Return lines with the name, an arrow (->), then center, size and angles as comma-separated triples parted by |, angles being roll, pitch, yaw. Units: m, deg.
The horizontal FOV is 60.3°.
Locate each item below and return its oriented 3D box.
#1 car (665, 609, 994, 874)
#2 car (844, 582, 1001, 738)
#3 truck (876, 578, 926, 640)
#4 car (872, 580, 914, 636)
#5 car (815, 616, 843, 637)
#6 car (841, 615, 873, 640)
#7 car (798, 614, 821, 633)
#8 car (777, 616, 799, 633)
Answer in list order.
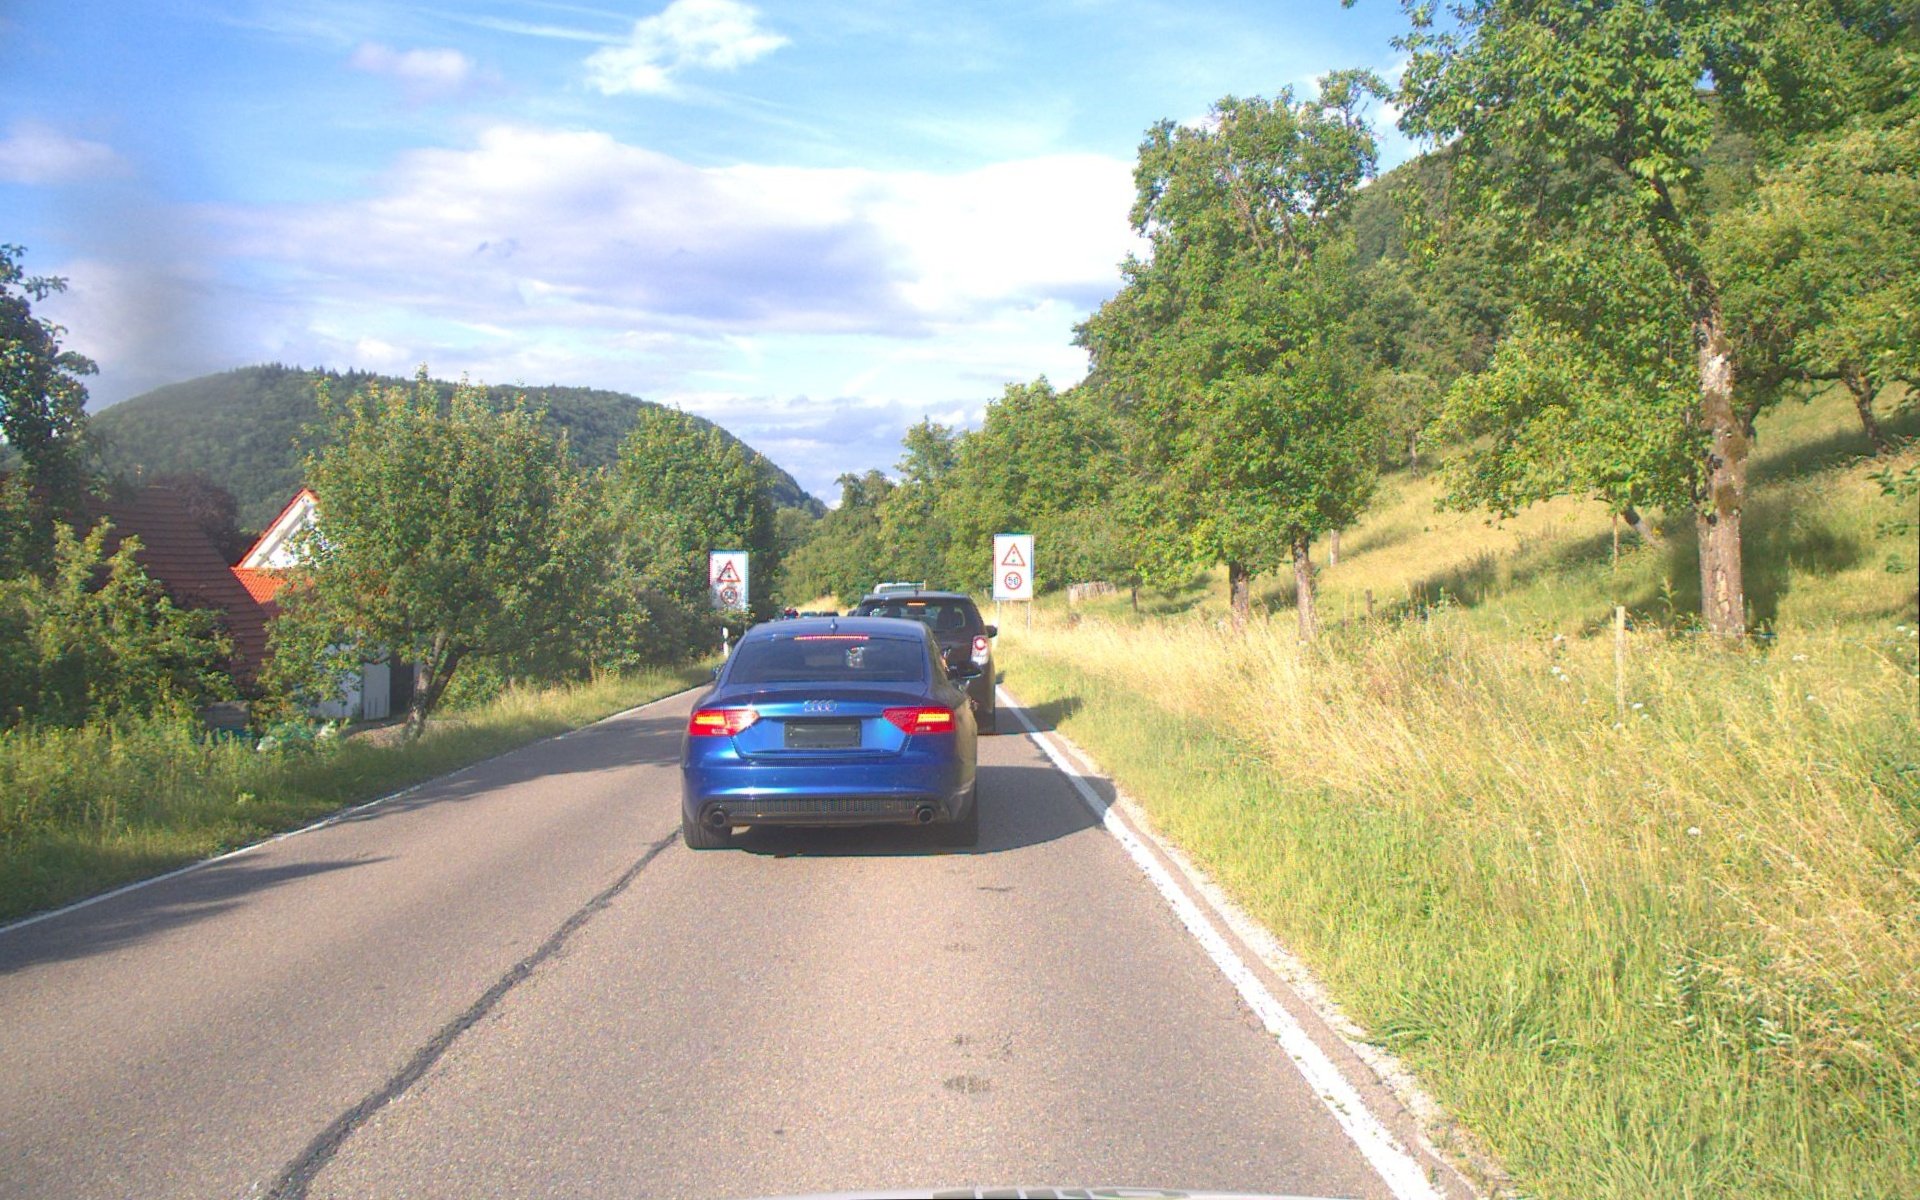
car -> -0.743, 0.777, 11.110 | 1.769, 1.406, 4.214 | -1, 0, -1
car -> -0.445, 0.638, 19.574 | 1.658, 1.652, 3.788 | 1, 0, -2
truck -> -2.414, 0.350, 67.964 | 1.911, 2.386, 5.092 | 2, 0, -2
car -> -3.137, 0.375, 77.413 | 1.757, 2.496, 3.916 | 2, 0, -4
car -> -10.398, 2.075, 131.512 | 1.717, 1.522, 3.767 | 2, 0, -12
car -> -6.907, 1.810, 110.934 | 1.716, 1.522, 3.769 | 2, 0, -10
car -> -13.085, 2.038, 143.488 | 1.532, 1.522, 3.766 | 2, 0, -12
car -> -16.212, 2.311, 155.858 | 1.532, 1.522, 3.765 | 2, 0, -13
